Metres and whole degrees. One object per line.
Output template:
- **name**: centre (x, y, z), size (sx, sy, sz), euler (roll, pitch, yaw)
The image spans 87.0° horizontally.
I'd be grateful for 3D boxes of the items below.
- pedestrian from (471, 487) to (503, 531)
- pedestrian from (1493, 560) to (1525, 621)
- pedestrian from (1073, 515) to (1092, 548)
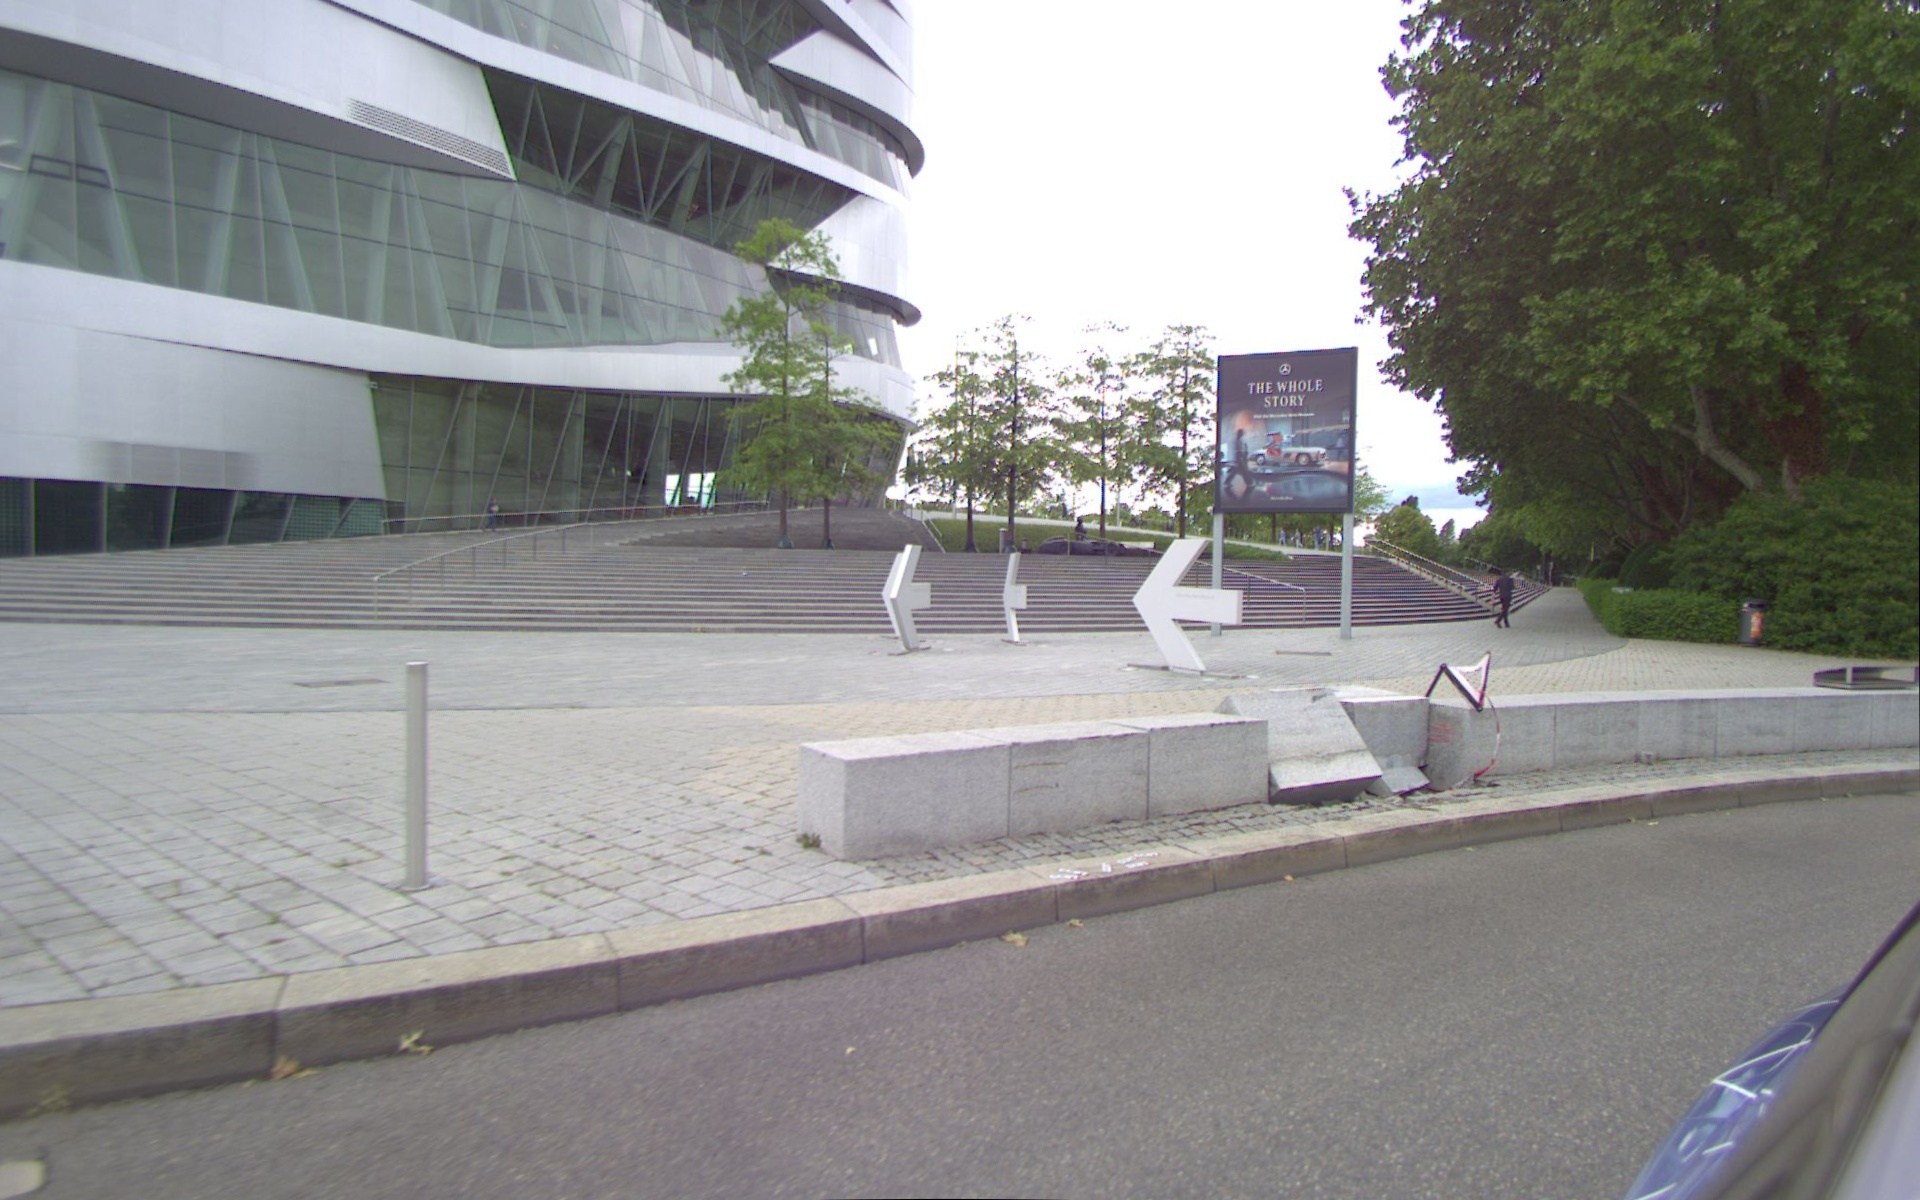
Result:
- **pedestrian**: centre (-21.913, -4.213, 46.866), size (0.847, 1.947, 0.941), euler (1, 5, 35)
- **pedestrian**: centre (16.213, -0.286, 29.915), size (0.582, 1.784, 0.556), euler (1, 0, -13)
- **pedestrian**: centre (5.444, -3.051, 45.020), size (0.776, 1.404, 0.682), euler (1, 0, 1)
